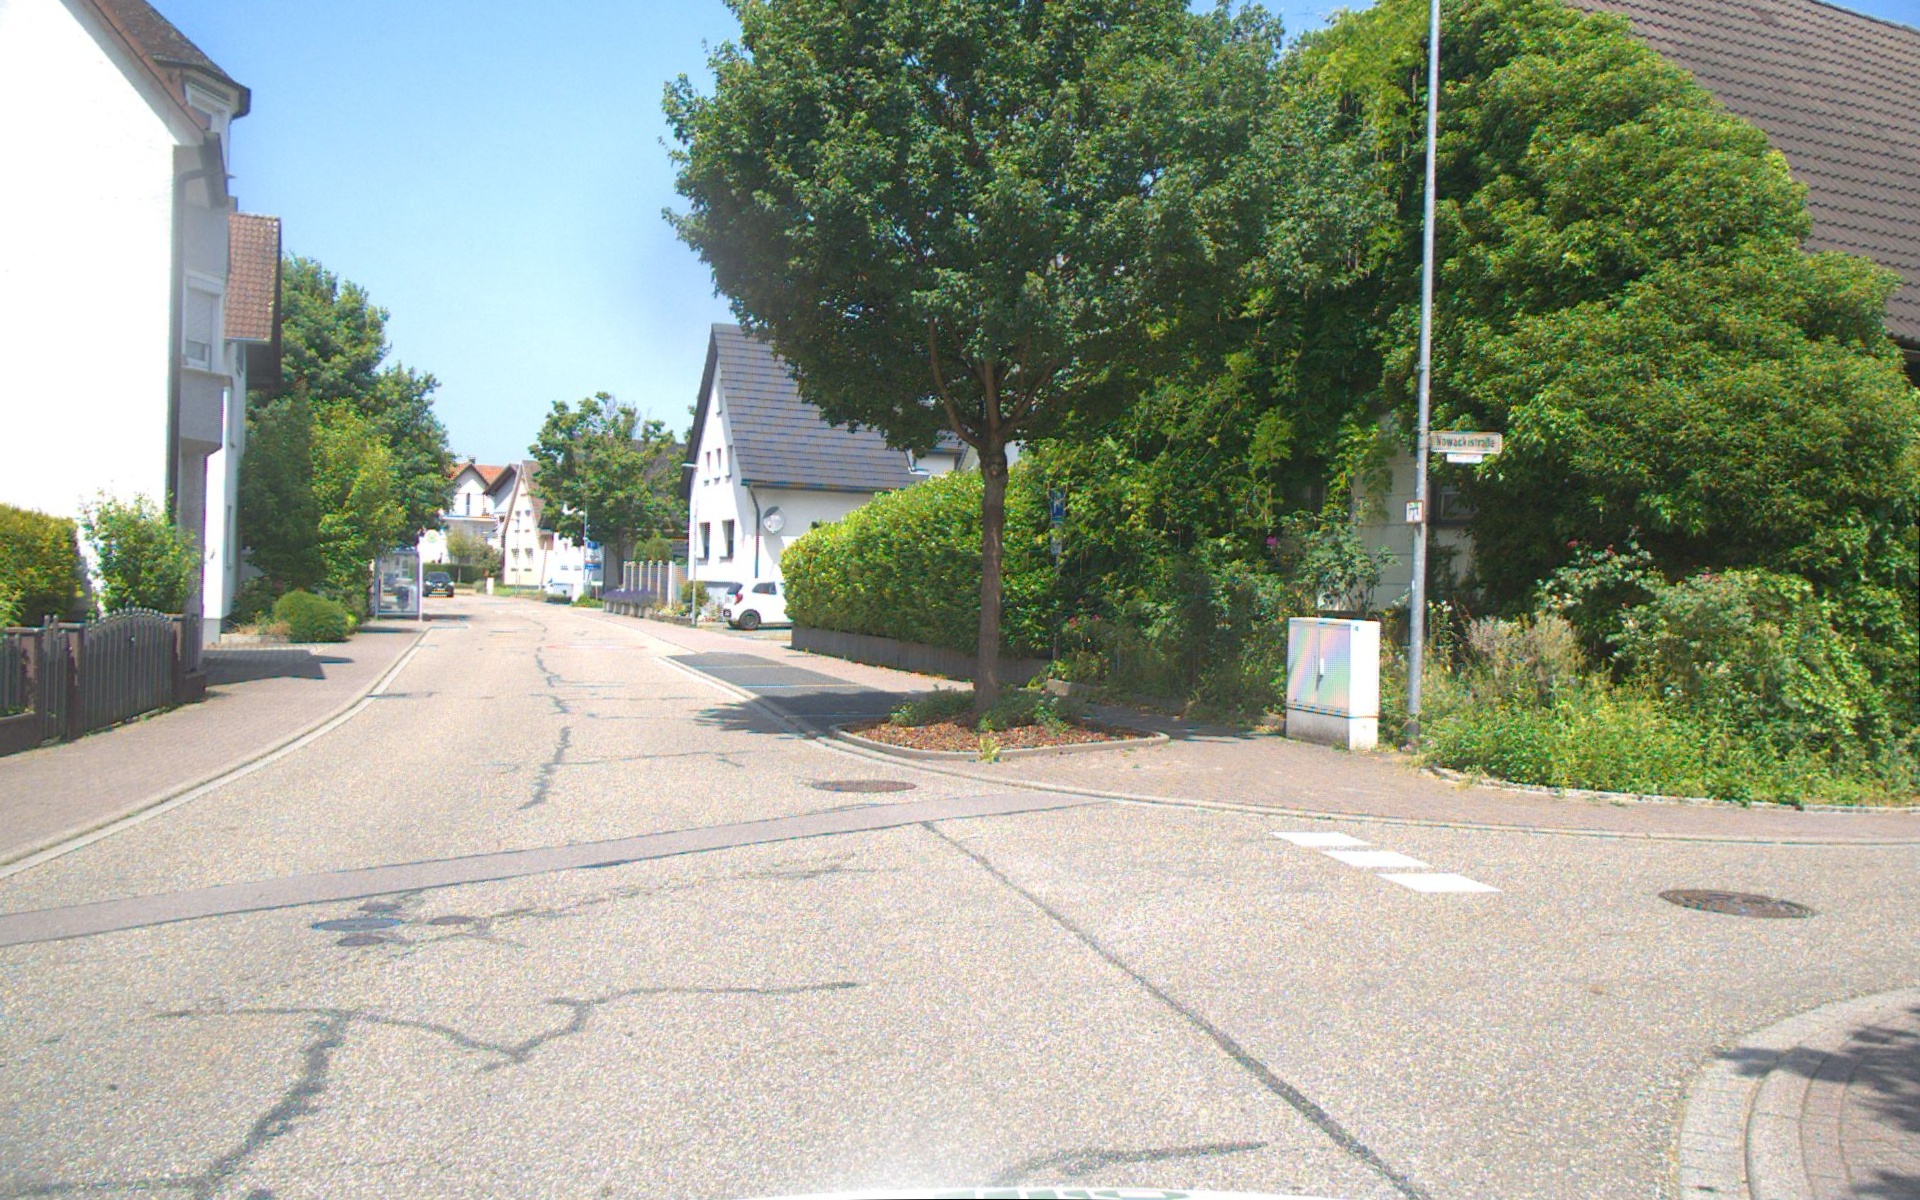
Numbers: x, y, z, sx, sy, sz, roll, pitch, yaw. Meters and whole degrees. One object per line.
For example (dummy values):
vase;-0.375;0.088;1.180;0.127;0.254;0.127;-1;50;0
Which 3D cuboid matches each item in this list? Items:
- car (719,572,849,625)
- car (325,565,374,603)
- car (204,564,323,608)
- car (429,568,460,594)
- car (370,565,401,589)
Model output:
car;-5.342;-0.077;50.238;3.609;1.500;1.753;-1;2;-24
car;-25.245;-0.679;68.305;1.754;1.459;4.029;1;1;-22
car;-26.625;-0.557;63.366;4.101;1.565;1.763;-1;2;-21
car;-33.500;-1.216;107.528;1.746;1.651;4.089;0;1;-15
car;-38.712;-1.557;111.422;1.606;1.512;3.969;0;1;-25
